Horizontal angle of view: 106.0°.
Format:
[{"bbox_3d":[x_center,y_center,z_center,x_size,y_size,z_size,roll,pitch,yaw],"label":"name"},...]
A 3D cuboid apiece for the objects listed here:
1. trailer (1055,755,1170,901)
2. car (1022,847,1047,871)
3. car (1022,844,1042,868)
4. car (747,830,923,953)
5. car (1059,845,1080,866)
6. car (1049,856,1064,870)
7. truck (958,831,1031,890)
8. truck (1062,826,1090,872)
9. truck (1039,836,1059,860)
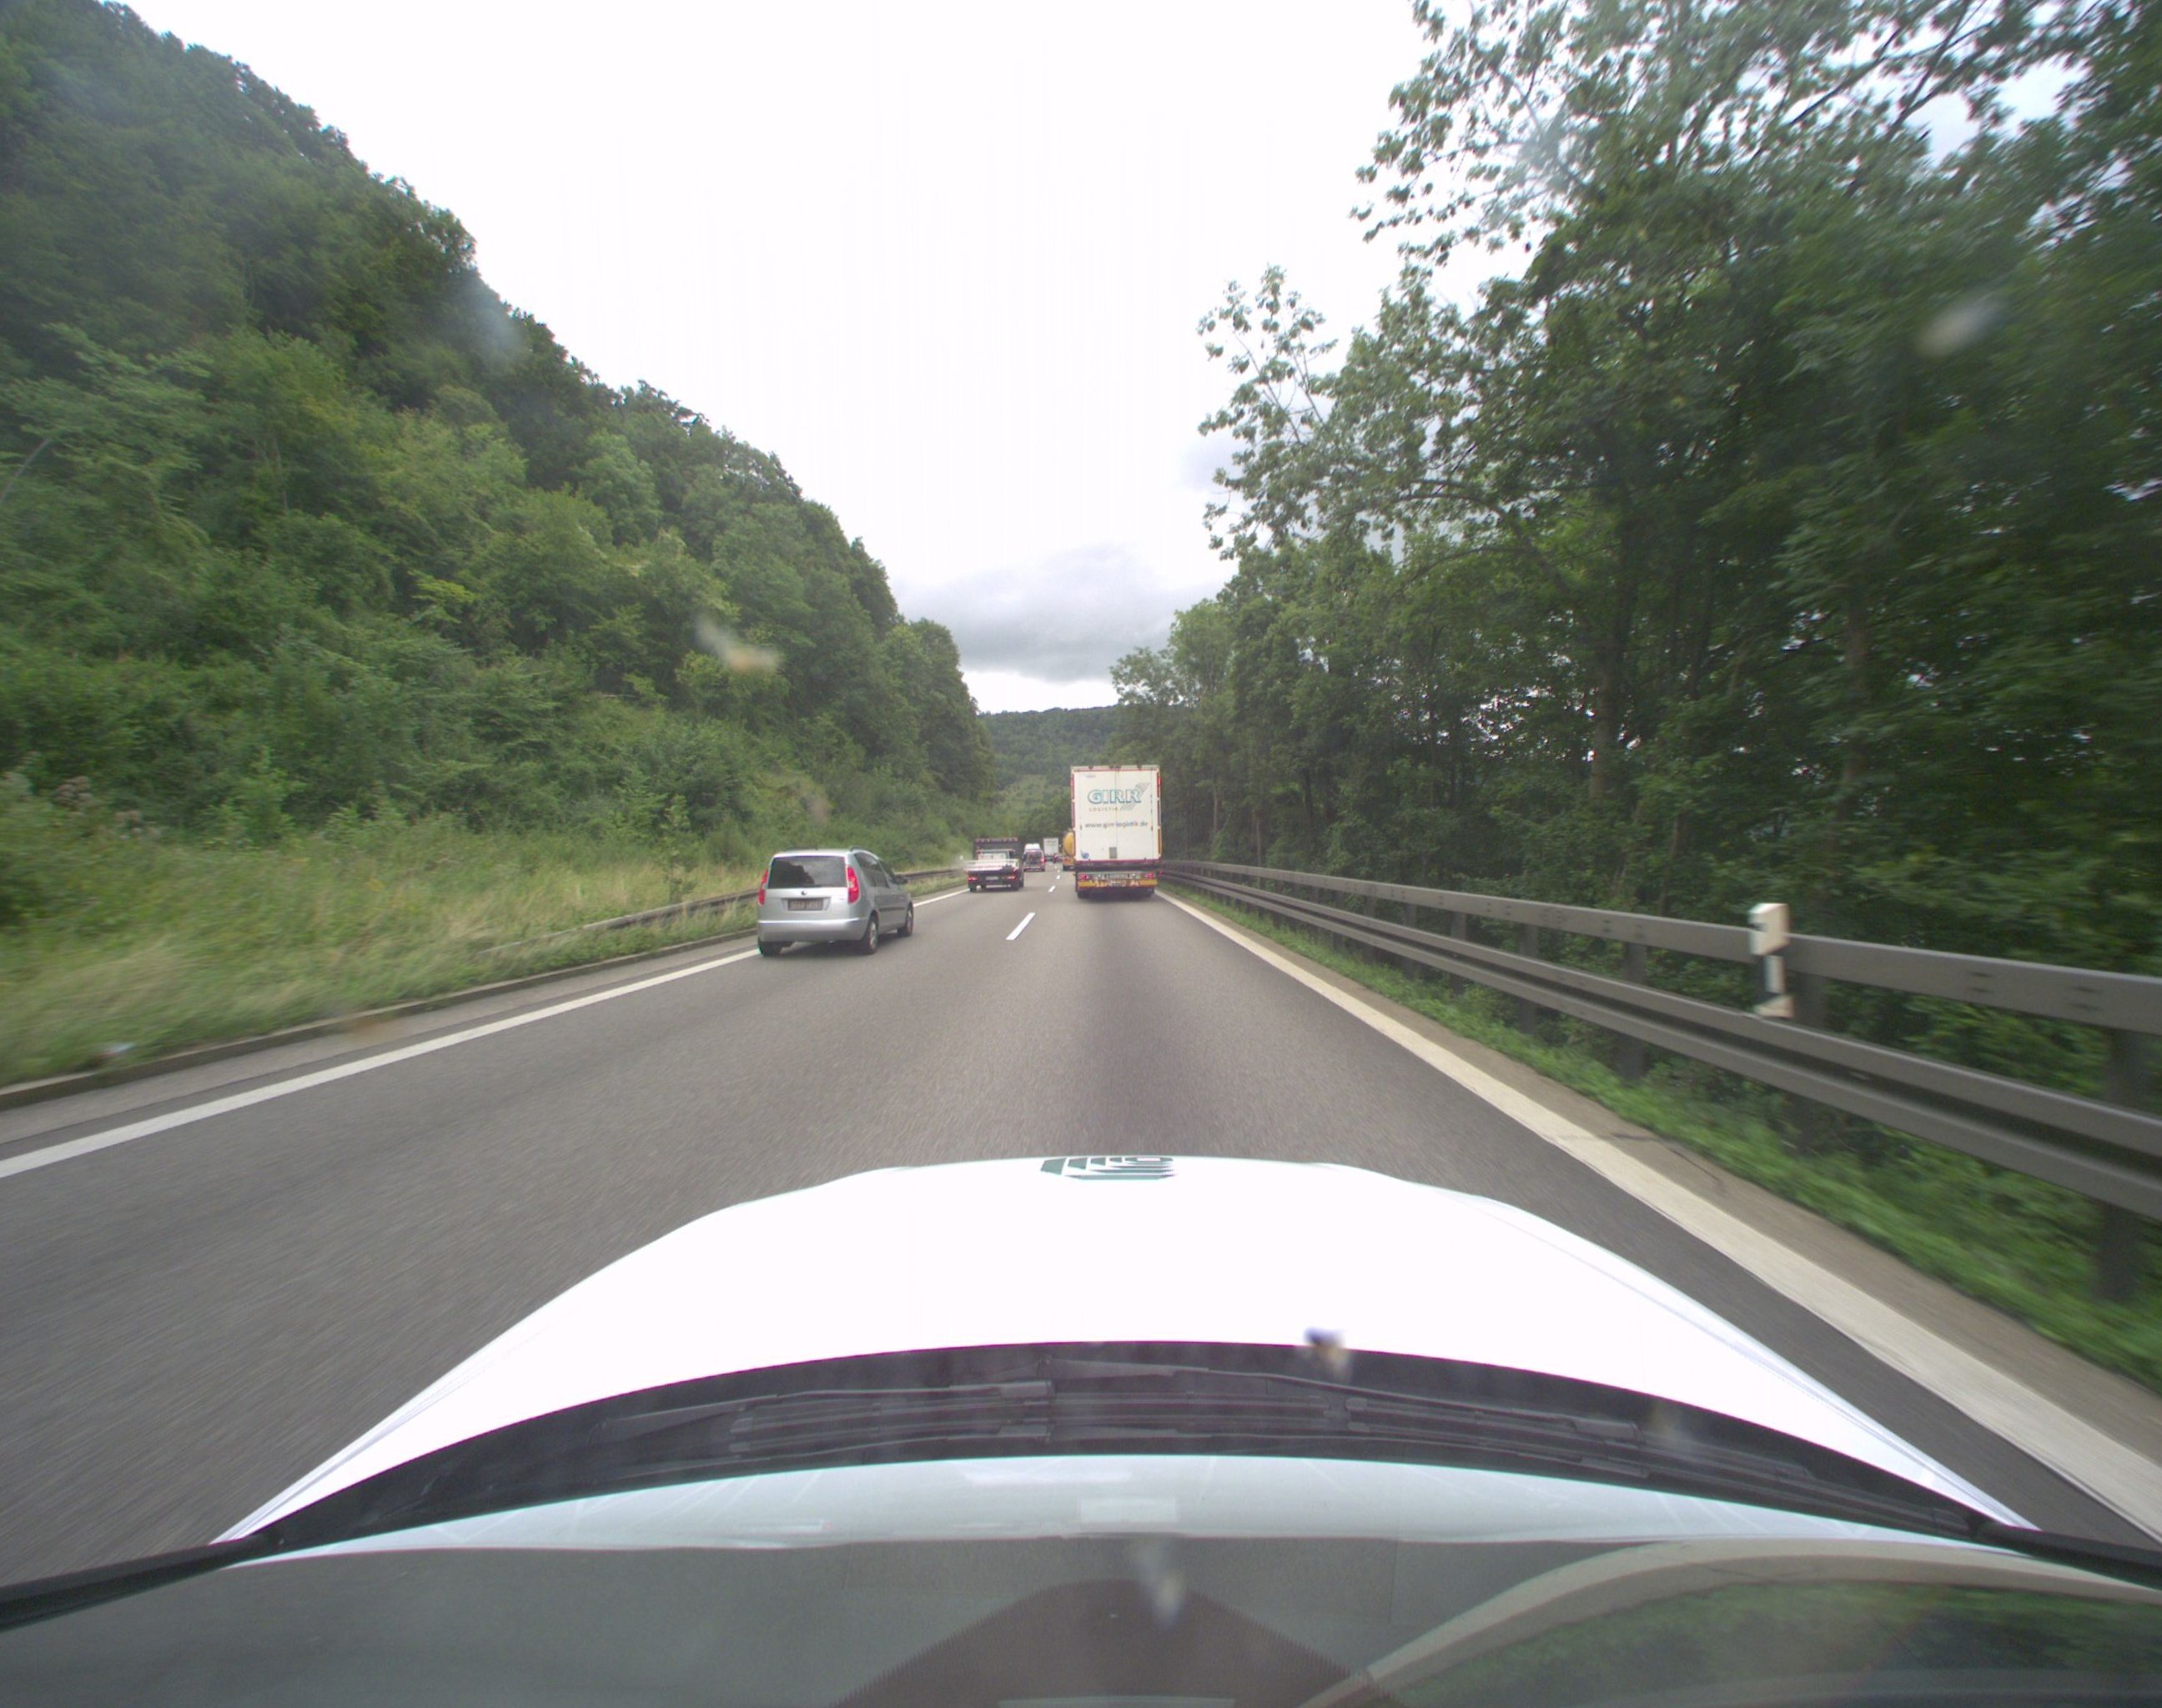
[{"bbox_3d":[0.988,-0.732,27.864,3.122,4.043,9.441,2,0,1],"label":"trailer"},{"bbox_3d":[-4.001,0.436,70.805,2.013,1.914,5.559,1,0,-2],"label":"car"},{"bbox_3d":[-5.487,0.246,90.690,2.119,2.598,5.555,0,0,-4],"label":"car"},{"bbox_3d":[-3.898,0.547,13.682,1.629,1.726,4.344,0,0,0],"label":"car"},{"bbox_3d":[-1.143,0.163,82.477,1.987,2.014,4.331,1,-1,-1],"label":"car"},{"bbox_3d":[-3.543,1.306,116.690,1.989,2.014,3.994,1,-1,-4],"label":"car"},{"bbox_3d":[-3.617,0.280,35.485,2.341,2.274,6.850,1,0,1],"label":"truck"},{"bbox_3d":[-0.366,-0.386,71.125,2.226,3.804,6.822,1,-1,1],"label":"truck"},{"bbox_3d":[-5.574,-0.894,139.352,3.063,3.877,8.444,1,-1,-5],"label":"truck"}]
